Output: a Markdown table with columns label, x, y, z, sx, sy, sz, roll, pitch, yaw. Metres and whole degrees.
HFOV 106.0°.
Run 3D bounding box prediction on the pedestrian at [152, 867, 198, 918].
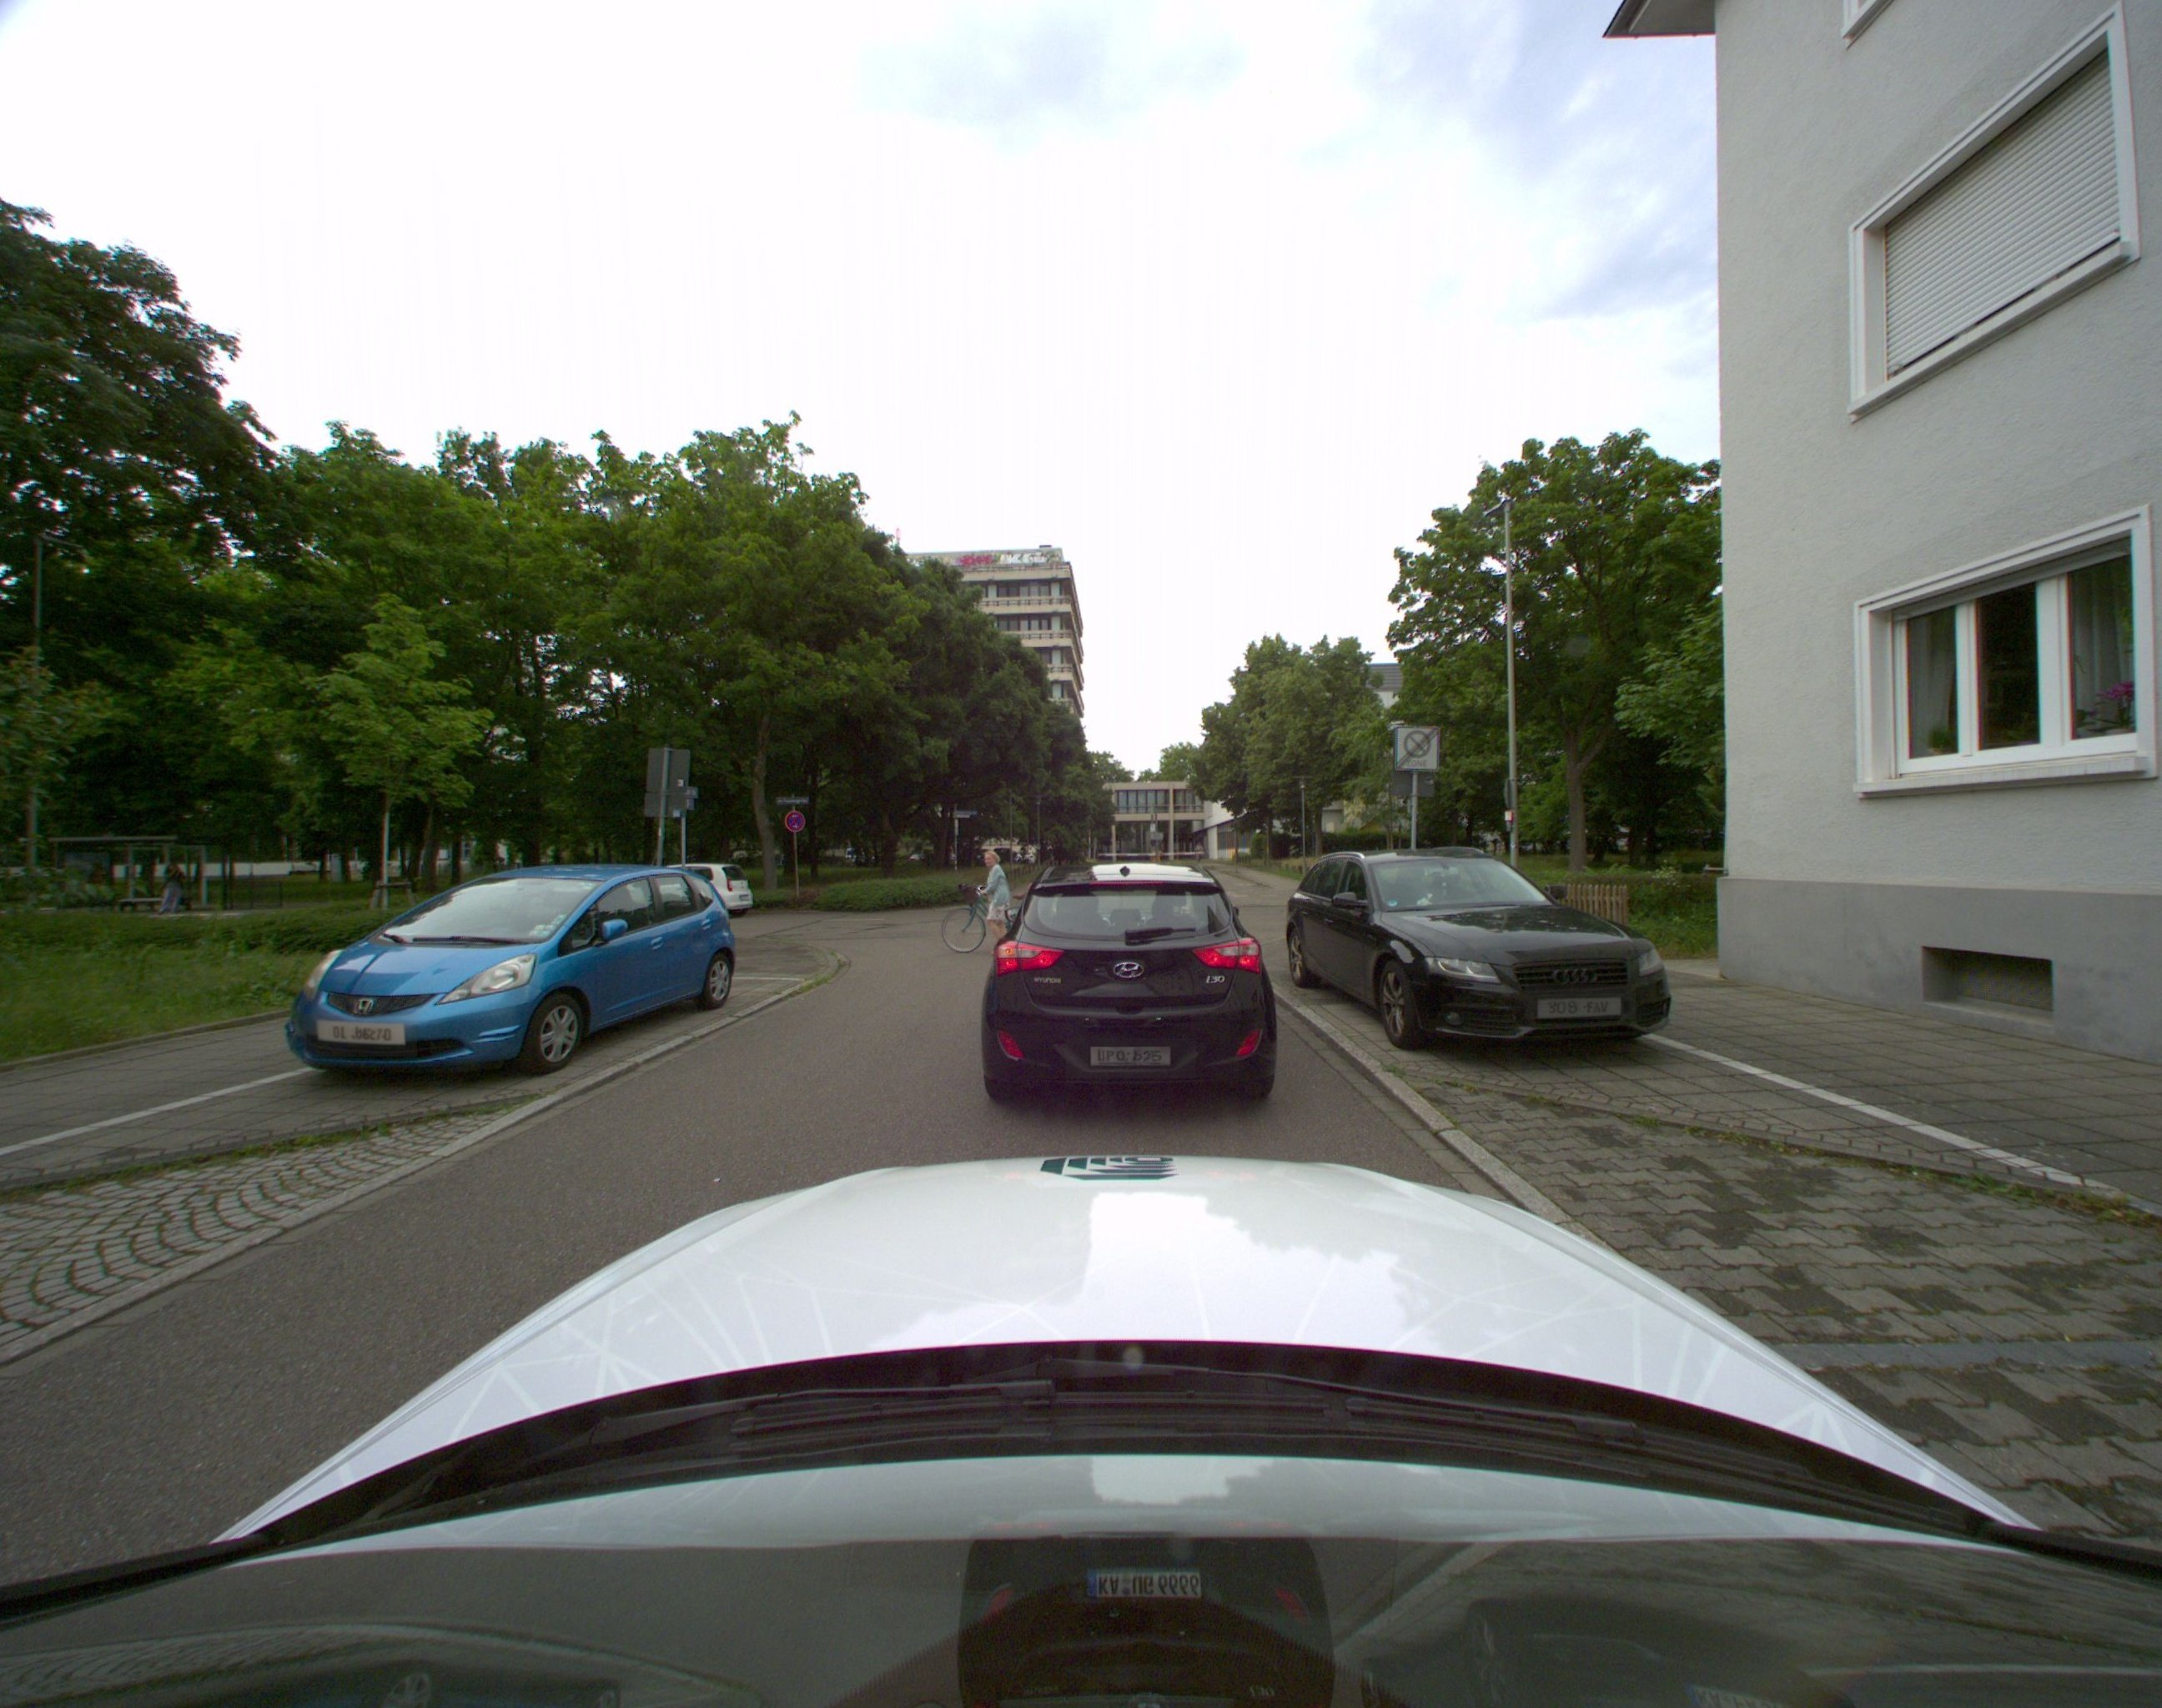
| label | x | y | z | sx | sy | sz | roll | pitch | yaw |
| --- | --- | --- | --- | --- | --- | --- | --- | --- | --- |
| pedestrian | -29.103 | 1.238 | 26.172 | 0.693 | 1.583 | 0.656 | -1 | 1 | 3 |

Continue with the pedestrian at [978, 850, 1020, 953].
| label | x | y | z | sx | sy | sz | roll | pitch | yaw |
| --- | --- | --- | --- | --- | --- | --- | --- | --- | --- |
| pedestrian | -1.279 | 0.725 | 12.707 | 0.565 | 1.549 | 0.447 | -3 | 0 | -5 |

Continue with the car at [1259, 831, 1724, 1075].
| label | x | y | z | sx | sy | sz | roll | pitch | yaw |
| --- | --- | --- | --- | --- | --- | --- | --- | --- | --- |
| car | 3.093 | 0.611 | 7.472 | 1.854 | 1.462 | 4.725 | -2 | 0 | 0 |

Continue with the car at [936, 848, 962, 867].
| label | x | y | z | sx | sy | sz | roll | pitch | yaw |
| --- | --- | --- | --- | --- | --- | --- | --- | --- | --- |
| car | -12.843 | 0.362 | 79.347 | 1.988 | 1.728 | 3.996 | -1 | -2 | -2 |

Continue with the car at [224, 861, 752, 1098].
| label | x | y | z | sx | sy | sz | roll | pitch | yaw |
| --- | --- | --- | --- | --- | --- | --- | --- | --- | --- |
| car | -4.673 | 0.834 | 7.295 | 1.724 | 1.462 | 3.958 | 1 | 0 | 1 |

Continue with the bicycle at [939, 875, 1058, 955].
| label | x | y | z | sx | sy | sz | roll | pitch | yaw |
| --- | --- | --- | --- | --- | --- | --- | --- | --- | --- |
| bicycle | -1.315 | 0.957 | 13.055 | 1.810 | 1.119 | 0.537 | -3 | 0 | -7 |

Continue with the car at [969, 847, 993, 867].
| label | x | y | z | sx | sy | sz | roll | pitch | yaw |
| --- | --- | --- | --- | --- | --- | --- | --- | --- | --- |
| car | -9.737 | 0.325 | 79.600 | 1.988 | 1.794 | 3.996 | -1 | -2 | -2 |

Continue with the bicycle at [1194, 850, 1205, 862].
| label | x | y | z | sx | sy | sz | roll | pitch | yaw |
| --- | --- | --- | --- | --- | --- | --- | --- | --- | --- |
| bicycle | 11.268 | 0.164 | 77.538 | 0.863 | 1.074 | 2.143 | -1 | 1 | 3 |

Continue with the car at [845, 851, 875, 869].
| label | x | y | z | sx | sy | sz | roll | pitch | yaw |
| --- | --- | --- | --- | --- | --- | --- | --- | --- | --- |
| car | -21.711 | 0.580 | 80.159 | 1.913 | 1.618 | 3.997 | -1 | 0 | -2 |

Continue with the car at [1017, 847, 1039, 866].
| label | x | y | z | sx | sy | sz | roll | pitch | yaw |
| --- | --- | --- | --- | --- | --- | --- | --- | --- | --- |
| car | -5.158 | 0.267 | 79.550 | 1.988 | 1.762 | 3.997 | -1 | -1 | -2 |

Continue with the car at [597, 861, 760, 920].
| label | x | y | z | sx | sy | sz | roll | pitch | yaw |
| --- | --- | --- | --- | --- | --- | --- | --- | --- | --- |
| car | -10.662 | 0.938 | 21.722 | 3.521 | 1.437 | 1.567 | -1 | 0 | -1 |

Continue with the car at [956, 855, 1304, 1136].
| label | x | y | z | sx | sy | sz | roll | pitch | yaw |
| --- | --- | --- | --- | --- | --- | --- | --- | --- | --- |
| car | 0.255 | 0.758 | 6.256 | 1.840 | 1.462 | 3.826 | -1 | 0 | 0 |

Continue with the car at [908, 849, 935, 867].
| label | x | y | z | sx | sy | sz | roll | pitch | yaw |
| --- | --- | --- | --- | --- | --- | --- | --- | --- | --- |
| car | -15.551 | 0.400 | 79.482 | 1.988 | 1.618 | 3.997 | -1 | 0 | -2 |

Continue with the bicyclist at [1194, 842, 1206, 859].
| label | x | y | z | sx | sy | sz | roll | pitch | yaw |
| --- | --- | --- | --- | --- | --- | --- | --- | --- | --- |
| bicyclist | 11.291 | -0.336 | 77.480 | 1.013 | 1.644 | 0.924 | -1 | 0 | 3 |
